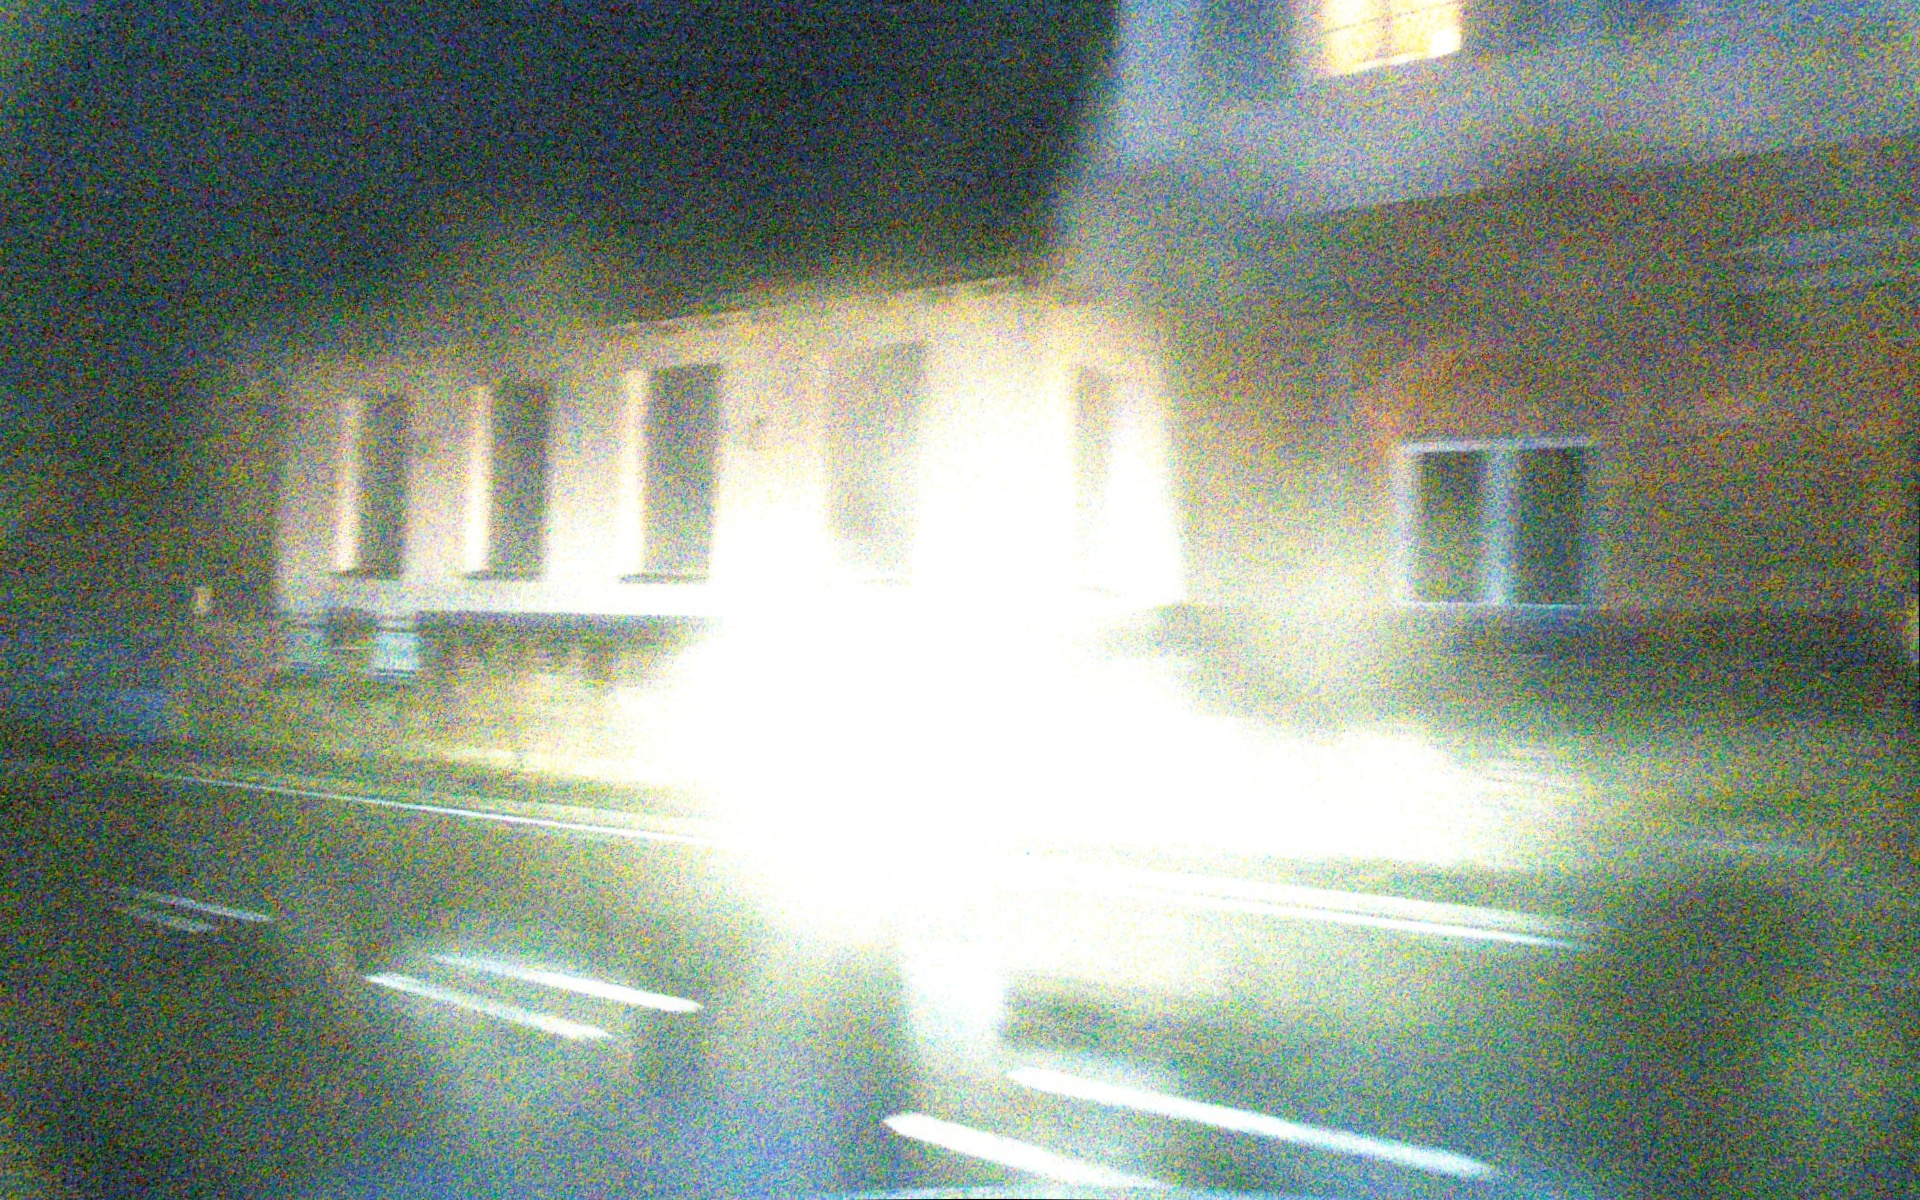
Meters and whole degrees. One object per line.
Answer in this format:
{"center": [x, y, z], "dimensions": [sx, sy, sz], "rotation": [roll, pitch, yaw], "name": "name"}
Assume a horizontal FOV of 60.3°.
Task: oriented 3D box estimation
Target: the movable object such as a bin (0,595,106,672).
{"center": [-16.223, 0.590, 29.567], "dimensions": [1.291, 1.332, 1.176], "rotation": [0, 1, 1], "name": "movable object such as a bin"}

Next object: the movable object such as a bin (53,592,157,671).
{"center": [-15.016, 0.542, 29.076], "dimensions": [1.203, 1.348, 1.154], "rotation": [0, 0, 3], "name": "movable object such as a bin"}

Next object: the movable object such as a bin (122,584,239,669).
{"center": [-13.713, 0.457, 29.134], "dimensions": [1.357, 1.438, 1.252], "rotation": [-2, 0, 8], "name": "movable object such as a bin"}
